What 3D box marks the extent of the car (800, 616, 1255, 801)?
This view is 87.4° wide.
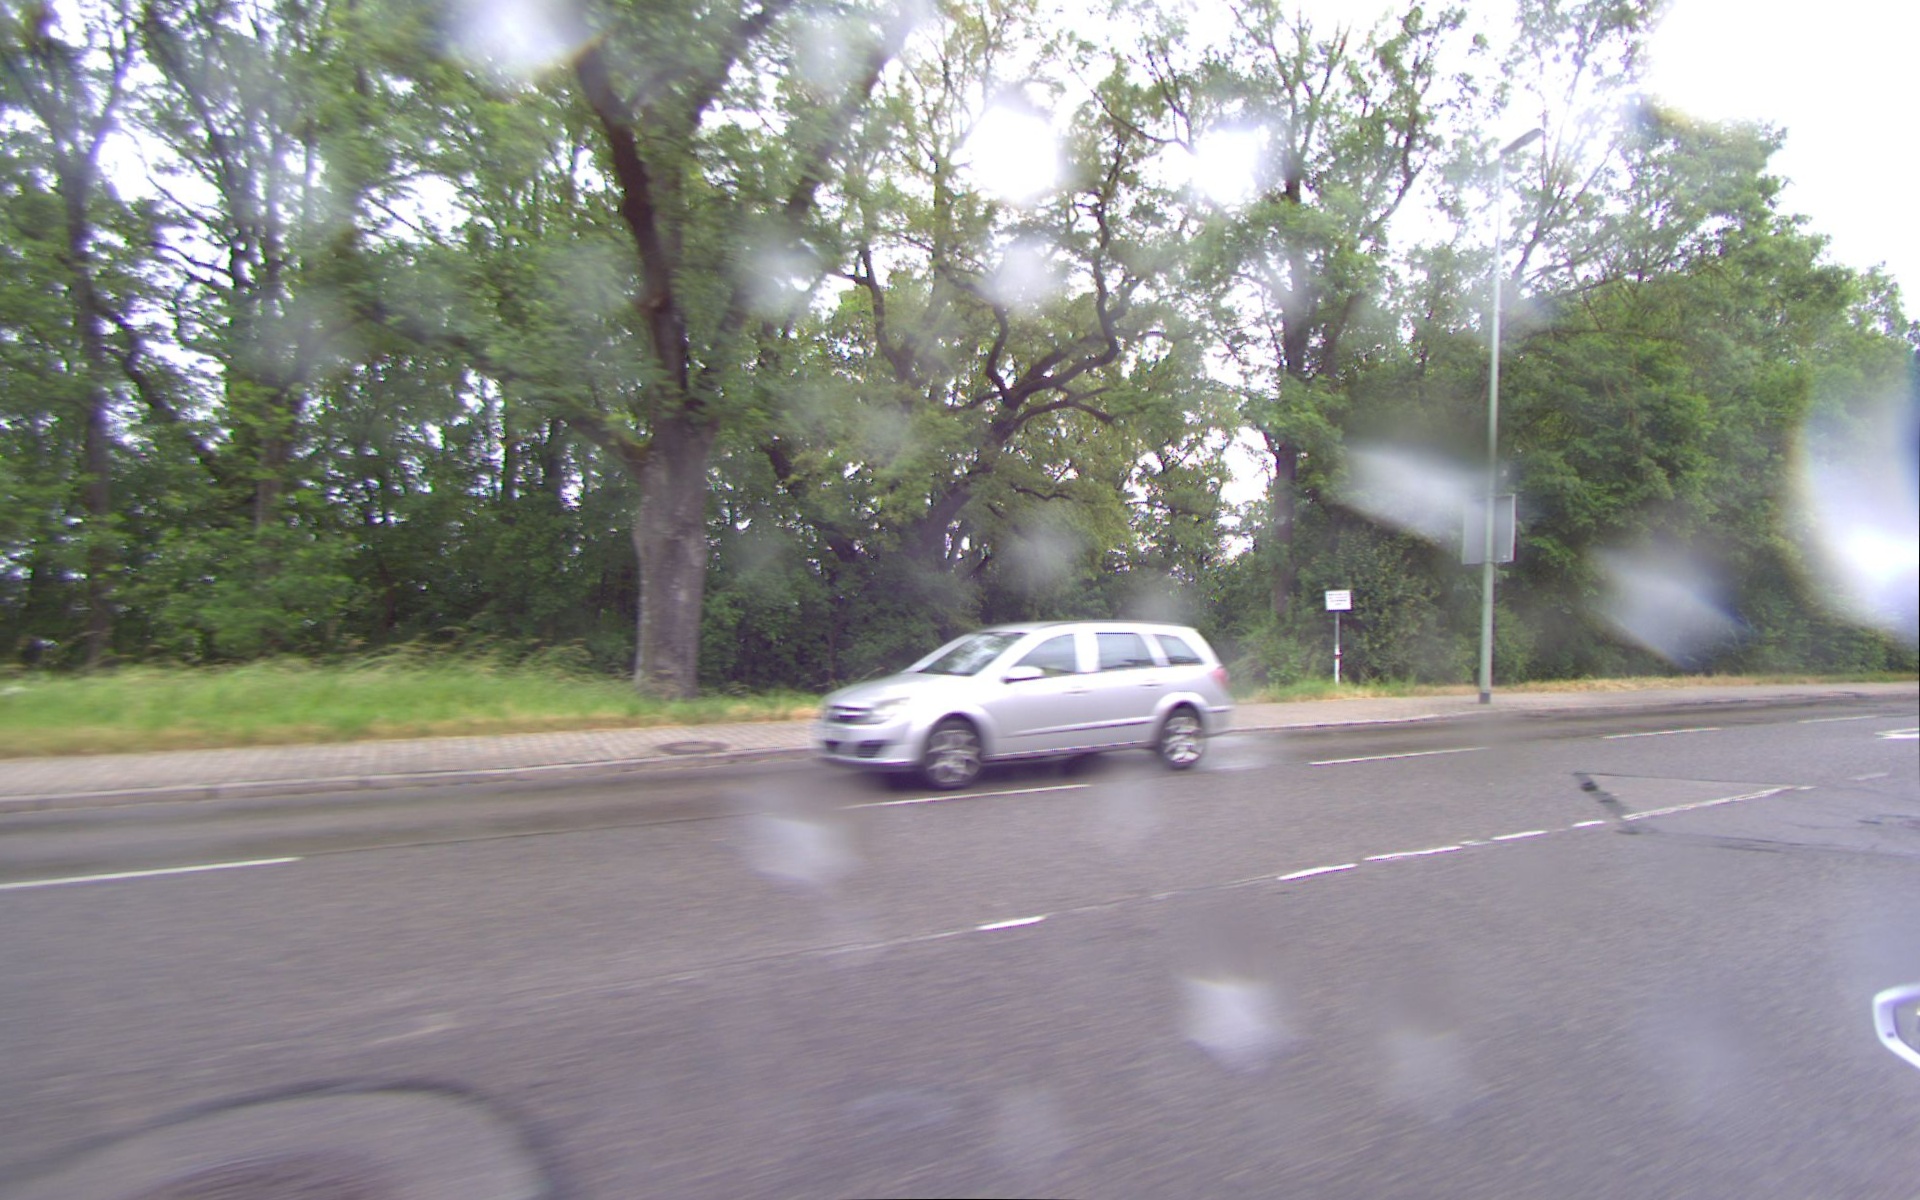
[{"bbox_3d":[0.766,0.962,10.061,4.401,1.502,1.681,1,-3,-31],"label":"car"}]
